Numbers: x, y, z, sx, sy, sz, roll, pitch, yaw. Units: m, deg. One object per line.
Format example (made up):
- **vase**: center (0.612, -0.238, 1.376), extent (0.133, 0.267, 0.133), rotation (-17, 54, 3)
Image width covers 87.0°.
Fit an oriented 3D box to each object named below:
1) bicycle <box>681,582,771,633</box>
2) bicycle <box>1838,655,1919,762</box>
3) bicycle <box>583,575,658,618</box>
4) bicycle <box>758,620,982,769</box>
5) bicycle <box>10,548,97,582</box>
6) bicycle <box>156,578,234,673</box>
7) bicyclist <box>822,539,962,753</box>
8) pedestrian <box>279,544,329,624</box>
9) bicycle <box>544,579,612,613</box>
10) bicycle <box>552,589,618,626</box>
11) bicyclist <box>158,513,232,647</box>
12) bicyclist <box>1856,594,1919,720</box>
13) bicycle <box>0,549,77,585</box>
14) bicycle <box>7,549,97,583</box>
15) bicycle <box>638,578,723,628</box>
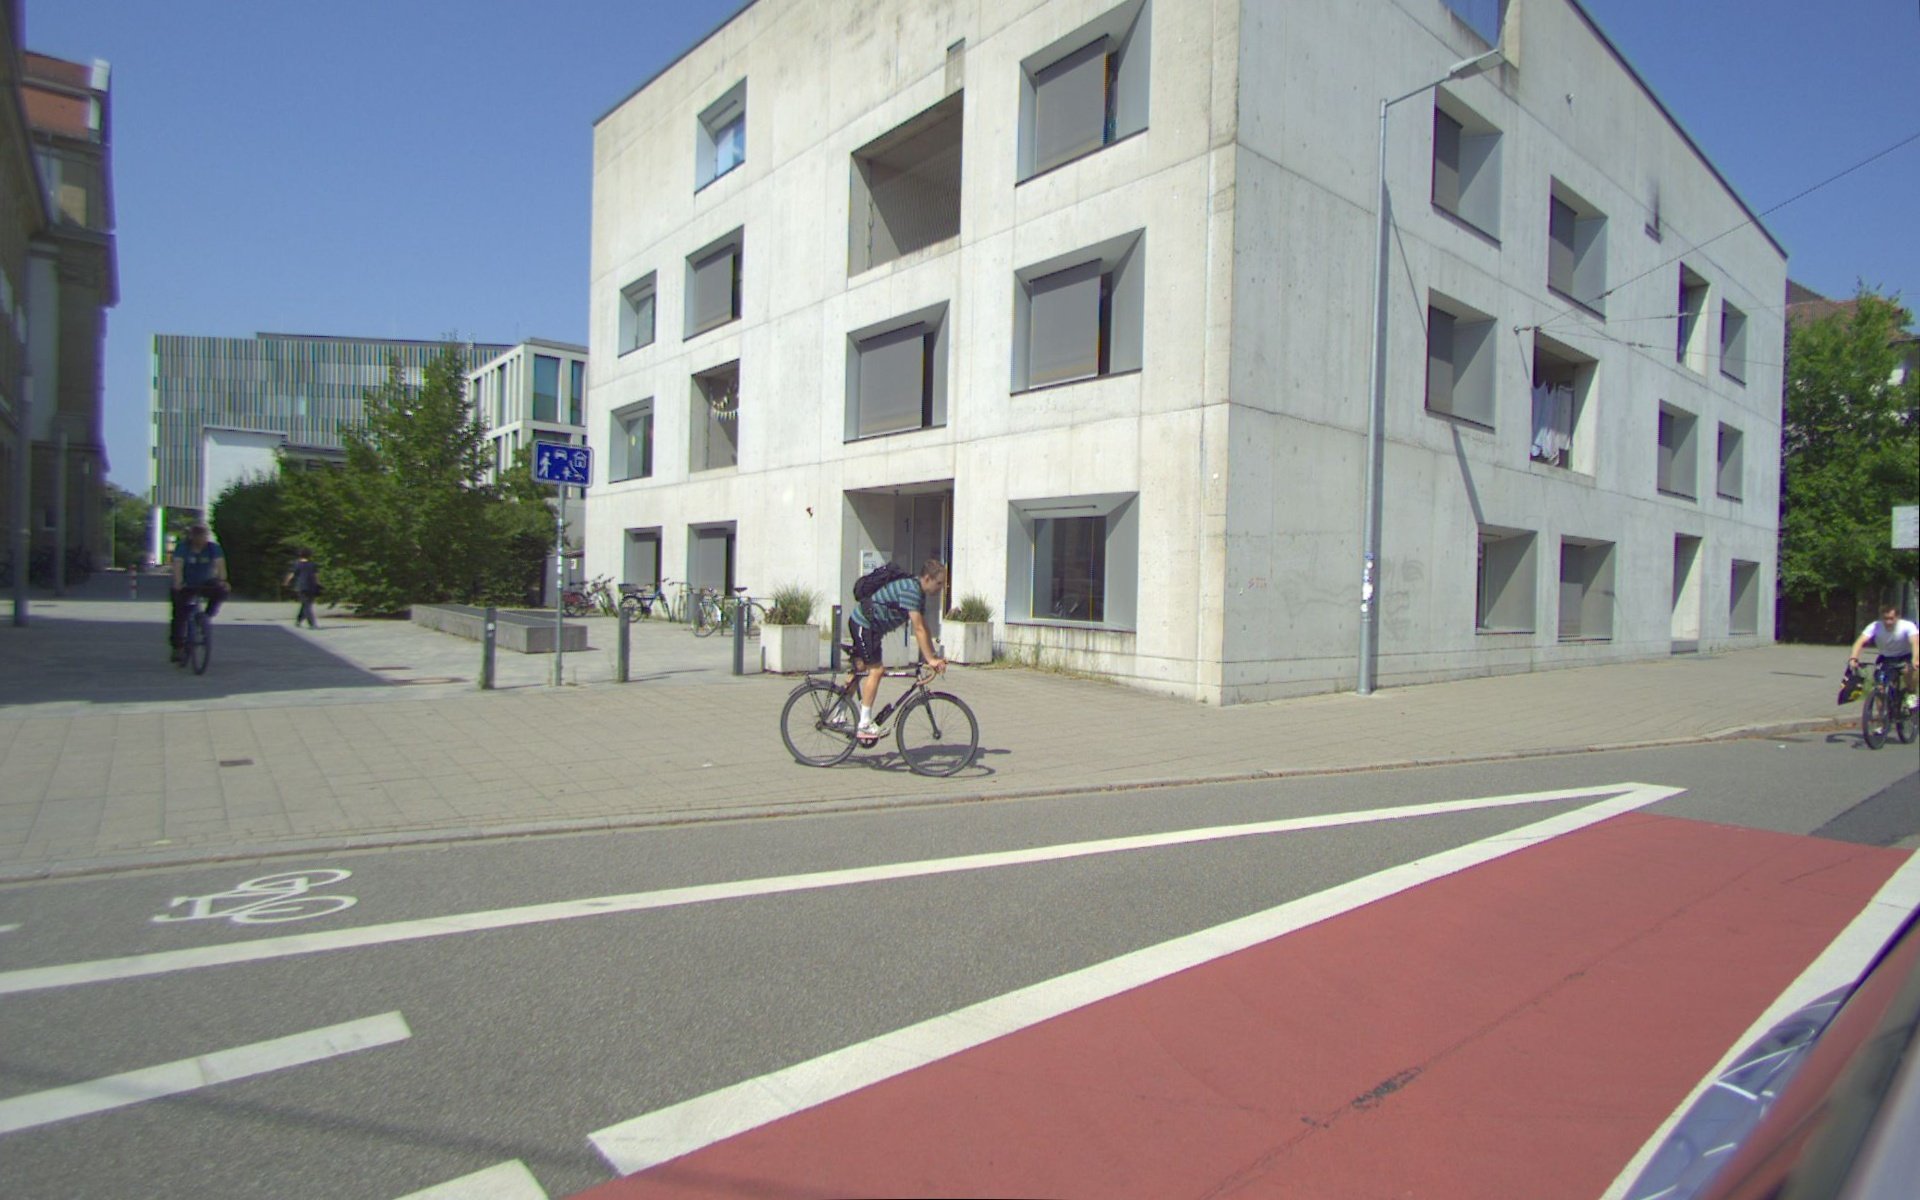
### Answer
- **bicycle**: center (-4.716, 0.127, 20.445), extent (1.652, 0.966, 0.620), rotation (-1, 2, -34)
- **bicycle**: center (11.073, 1.230, 11.936), extent (2.193, 1.062, 0.740), rotation (1, 0, -40)
- **bicycle**: center (-8.309, -0.083, 24.787), extent (1.633, 1.012, 0.617), rotation (1, 1, -29)
- **bicycle**: center (-0.707, 0.736, 8.205), extent (1.682, 1.012, 0.615), rotation (4, 1, 7)
- **bicycle**: center (-29.485, -1.135, 32.965), extent (2.099, 1.015, 0.492), rotation (1, 1, -41)
- **bicycle**: center (-9.387, 0.280, 12.395), extent (0.605, 1.012, 1.709), rotation (2, 2, -41)
- **bicyclist**: center (-0.535, 0.343, 8.178), extent (0.976, 1.618, 0.626), rotation (2, 1, 9)
- **pedestrian**: center (-13.544, -0.335, 20.909), extent (0.735, 1.598, 0.597), rotation (2, 1, 32)
- **bicycle**: center (-10.471, -0.113, 27.773), extent (0.512, 0.884, 1.681), rotation (3, 1, 44)
- **bicycle**: center (-10.043, 0.193, 27.134), extent (1.599, 0.948, 0.456), rotation (1, 1, -41)
- **bicyclist**: center (-9.356, -0.256, 12.369), extent (0.617, 1.557, 0.903), rotation (1, 3, -42)
- **bicyclist**: center (11.226, 0.663, 12.005), extent (0.944, 1.429, 0.746), rotation (1, 0, -40)
- **bicycle**: center (-27.278, -0.975, 29.659), extent (2.099, 1.015, 0.492), rotation (1, 1, -41)
- **bicycle**: center (-28.717, -1.079, 32.048), extent (2.099, 1.015, 0.492), rotation (1, 1, -41)
- **bicycle**: center (-6.050, 0.062, 21.931), extent (1.632, 1.012, 0.617), rotation (2, 2, -29)
